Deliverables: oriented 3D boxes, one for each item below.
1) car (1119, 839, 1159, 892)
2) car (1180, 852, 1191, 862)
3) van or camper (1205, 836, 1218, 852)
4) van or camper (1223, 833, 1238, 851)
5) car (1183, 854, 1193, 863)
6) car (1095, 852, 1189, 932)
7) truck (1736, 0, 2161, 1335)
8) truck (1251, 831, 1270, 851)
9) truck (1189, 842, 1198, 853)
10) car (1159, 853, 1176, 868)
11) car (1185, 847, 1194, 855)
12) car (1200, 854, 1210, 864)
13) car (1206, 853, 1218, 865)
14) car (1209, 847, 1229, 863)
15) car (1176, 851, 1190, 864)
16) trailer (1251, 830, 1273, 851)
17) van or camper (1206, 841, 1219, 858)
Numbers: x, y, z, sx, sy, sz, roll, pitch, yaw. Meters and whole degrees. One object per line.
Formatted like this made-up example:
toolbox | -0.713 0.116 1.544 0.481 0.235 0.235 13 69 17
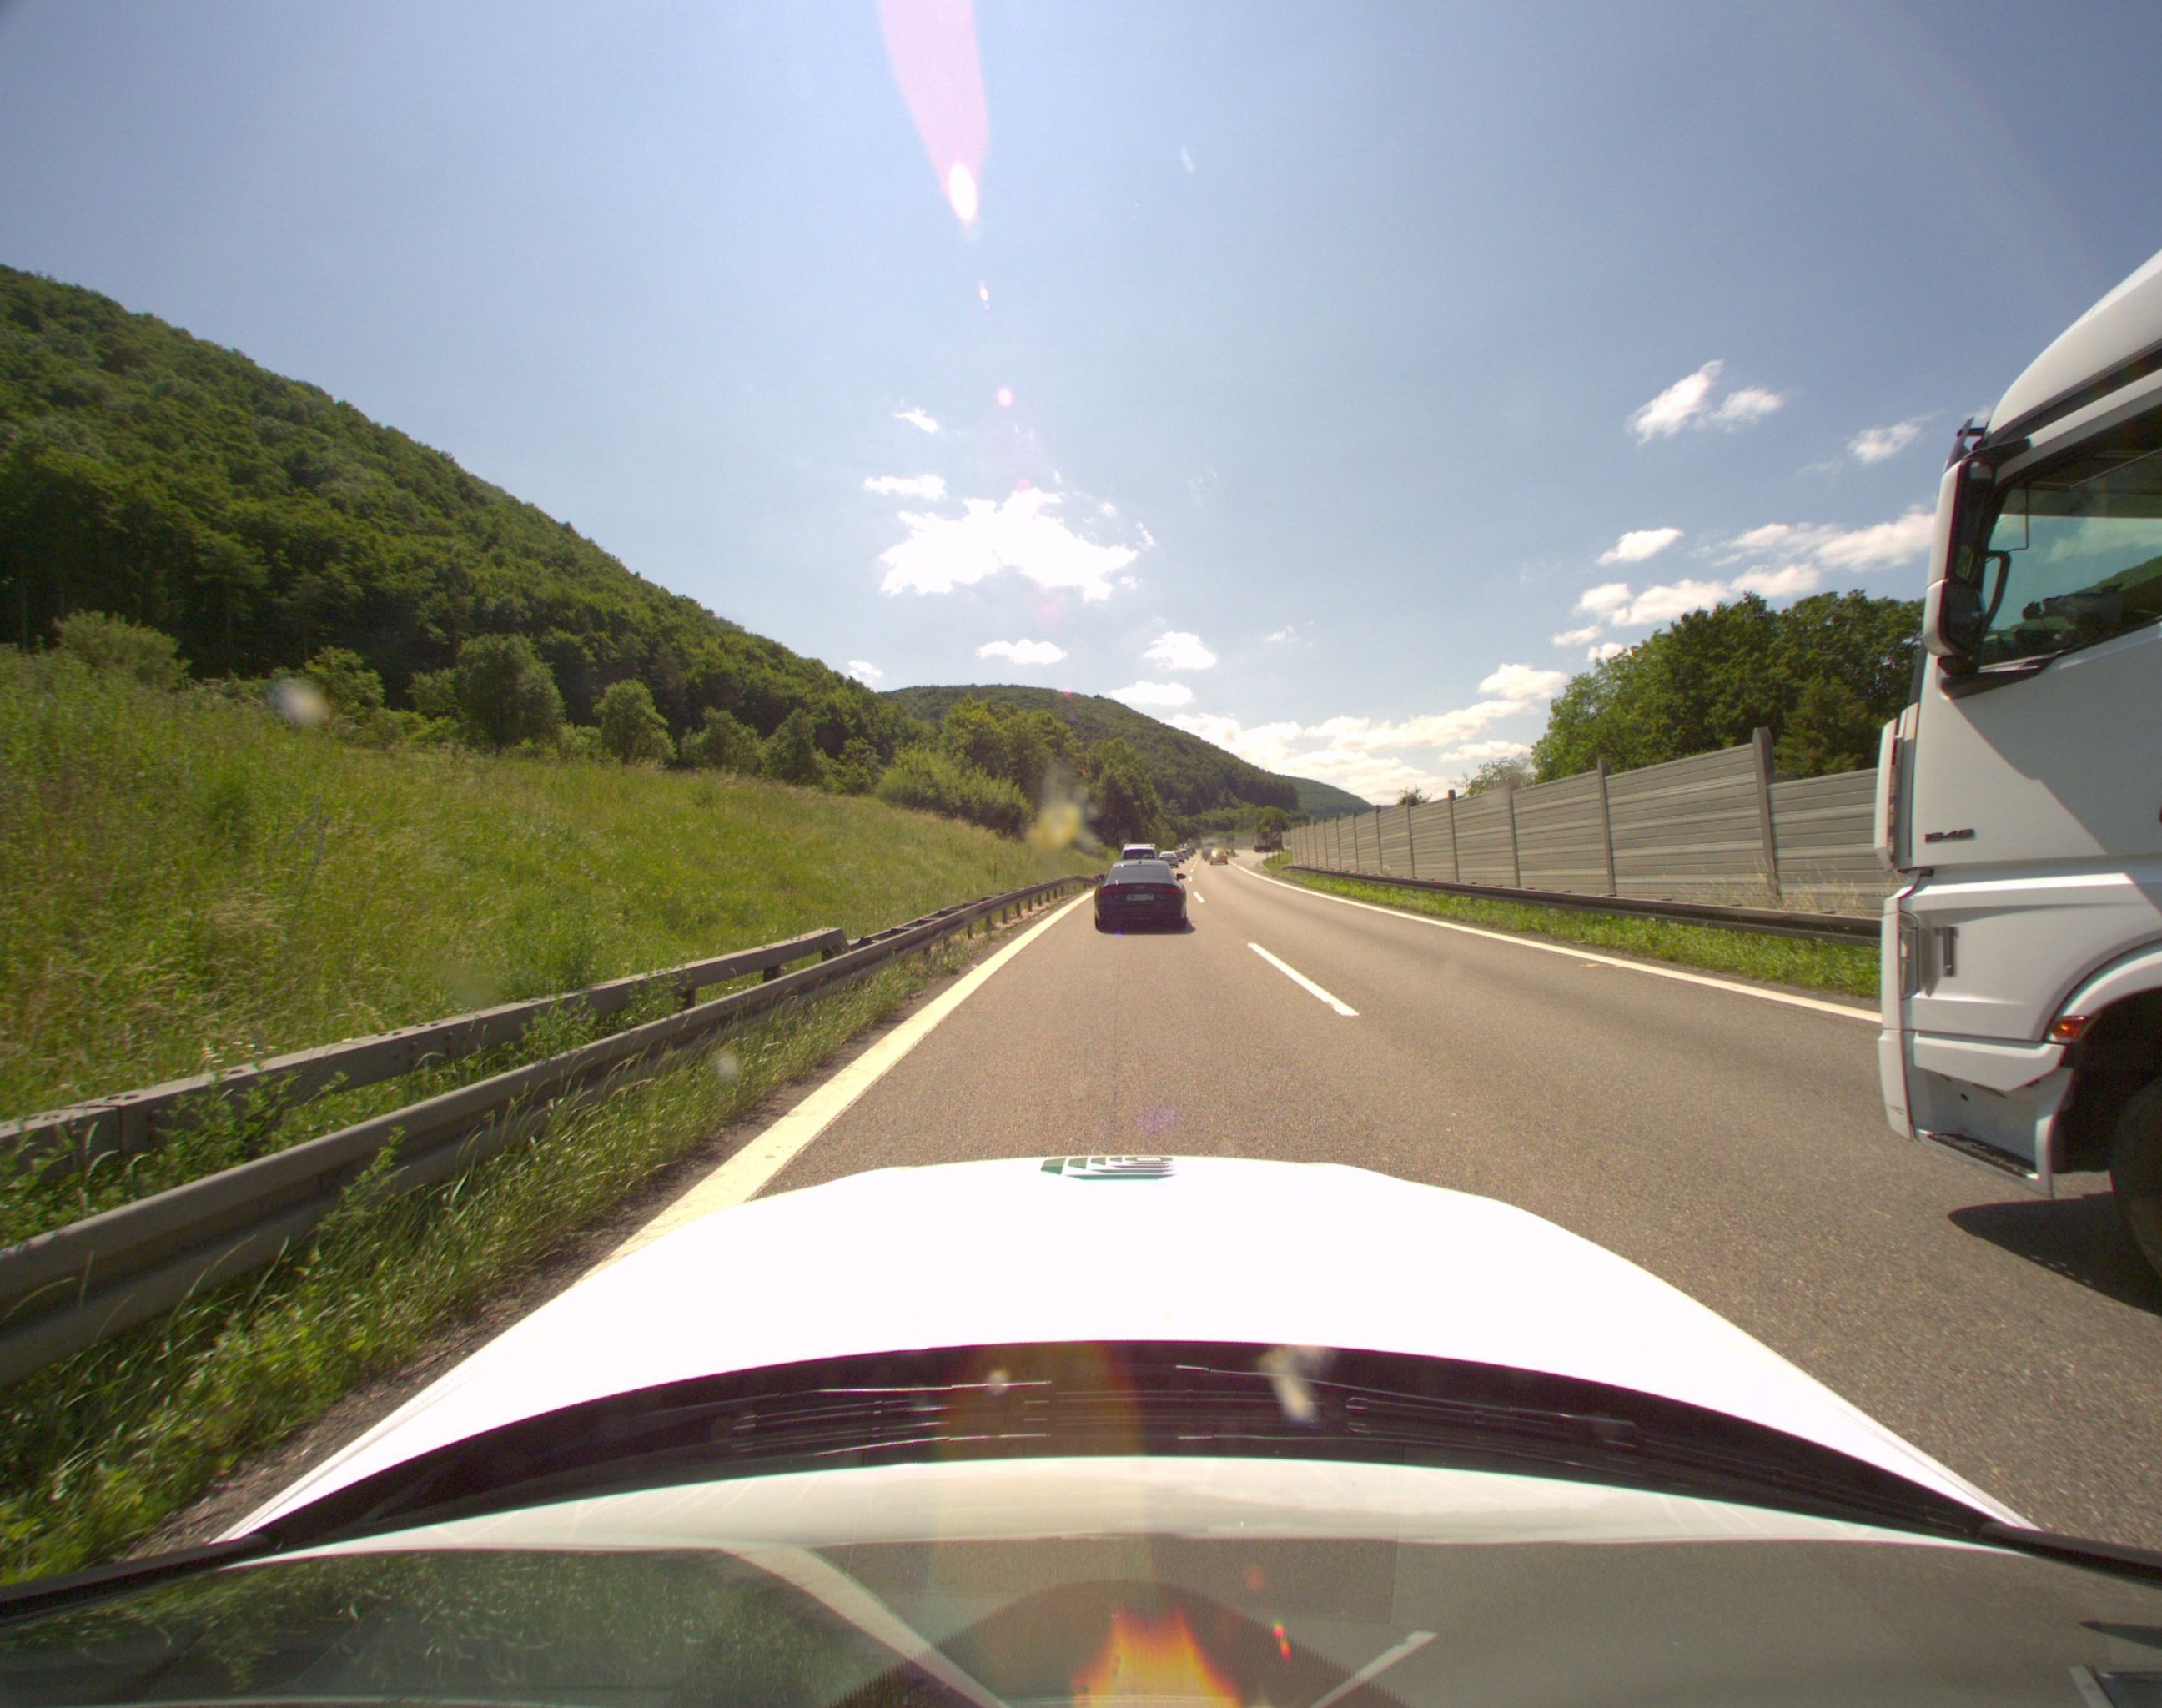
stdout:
car | 2.303 0.434 32.467 1.514 1.968 3.518 0 0 4
car | 16.313 0.433 127.503 1.512 1.553 3.524 0 0 10
van or camper | 32.068 -2.393 200.401 2.780 3.907 6.179 0 -1 7
van or camper | 31.561 -2.495 172.038 2.780 3.841 6.179 0 -1 7
car | 18.933 0.773 143.557 1.511 1.553 3.525 0 0 11
car | 1.221 0.732 17.490 1.805 1.514 3.515 -1 0 1
truck | 4.592 -0.621 1.076 2.711 4.068 5.752 -1 -1 -1
truck | 36.812 -2.662 167.447 3.392 3.900 5.400 -2 0 8
truck | 28.486 -1.577 206.357 2.051 2.605 5.630 0 0 10
car | 7.983 0.589 74.817 1.513 1.294 3.520 0 0 6
car | 21.721 -0.600 162.844 1.512 1.553 3.524 0 0 10
car | 19.386 0.738 127.216 1.521 1.525 3.605 0 -1 9
car | 17.058 0.652 106.377 1.521 1.525 3.605 0 -1 9
car | 14.224 0.095 83.997 1.868 1.499 4.010 -2 0 9
car | 12.257 0.373 97.978 1.512 1.553 3.523 0 0 9
trailer | 35.986 -2.597 161.890 3.392 3.900 11.178 -2 0 8
van or camper | 25.004 -0.784 154.513 2.415 3.155 5.216 0 -1 9
